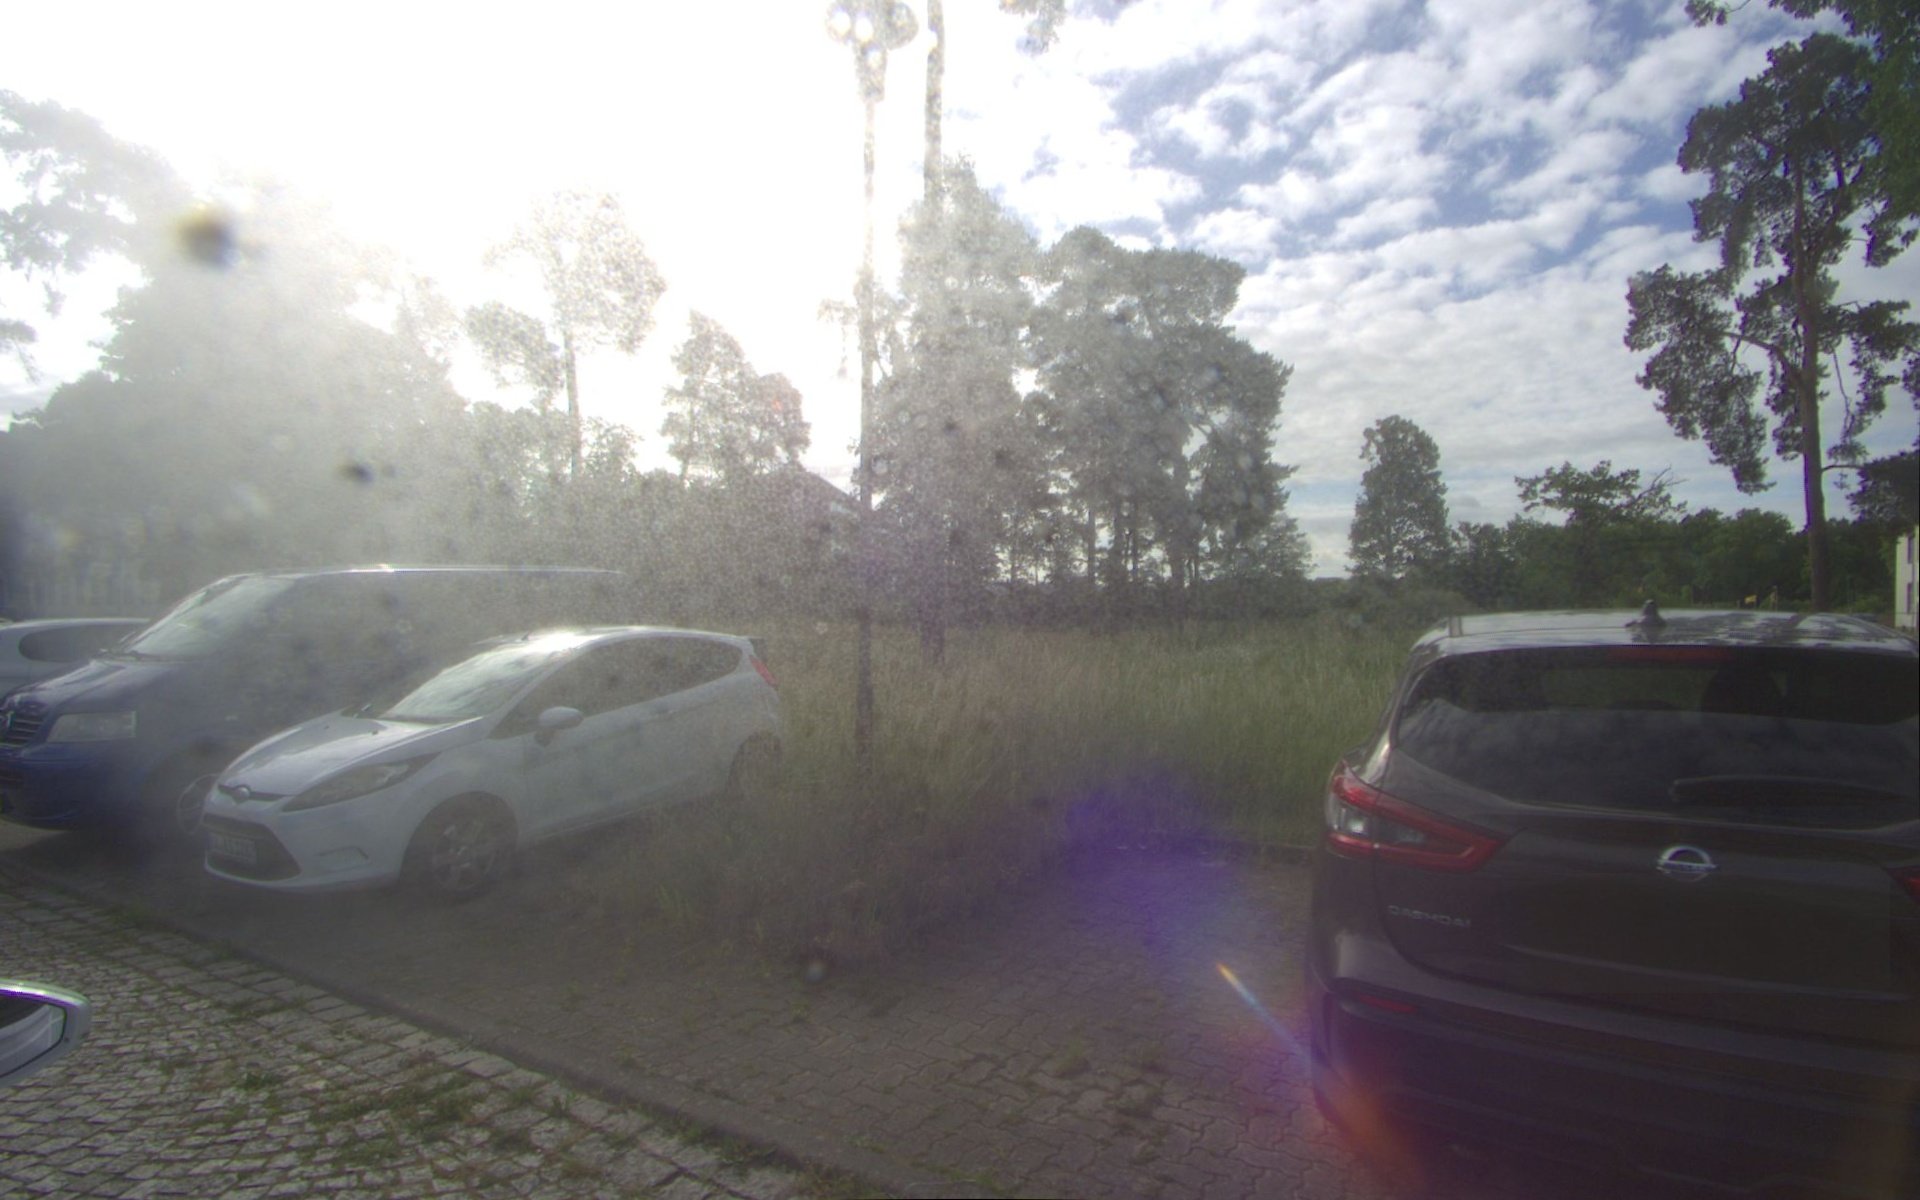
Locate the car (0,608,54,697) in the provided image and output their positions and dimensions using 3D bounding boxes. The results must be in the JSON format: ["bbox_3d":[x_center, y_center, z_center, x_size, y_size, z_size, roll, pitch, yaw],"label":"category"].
[{"bbox_3d":[-18.262,0.904,16.988,1.637,1.563,3.987,0,-1,26],"label":"car"}]

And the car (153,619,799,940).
[{"bbox_3d":[-2.899,0.900,6.828,1.629,1.443,3.718,0,1,29],"label":"car"}]

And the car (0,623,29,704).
[{"bbox_3d":[-16.707,0.999,15.285,1.637,1.284,3.292,1,-1,26],"label":"car"}]

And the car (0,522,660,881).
[{"bbox_3d":[-4.885,0.626,8.269,1.711,2.066,4.778,0,-1,29],"label":"car"}]

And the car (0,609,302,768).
[{"bbox_3d":[-9.437,0.870,11.028,1.639,1.524,3.289,1,0,29],"label":"car"}]

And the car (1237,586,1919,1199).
[{"bbox_3d":[2.434,0.816,3.812,1.735,1.601,3.946,0,-1,30],"label":"car"}]

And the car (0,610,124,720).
[{"bbox_3d":[-14.238,0.907,14.193,1.635,1.524,3.296,1,0,21],"label":"car"}]

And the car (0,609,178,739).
[{"bbox_3d":[-12.076,0.882,12.289,1.635,1.526,3.602,1,-1,21],"label":"car"}]
